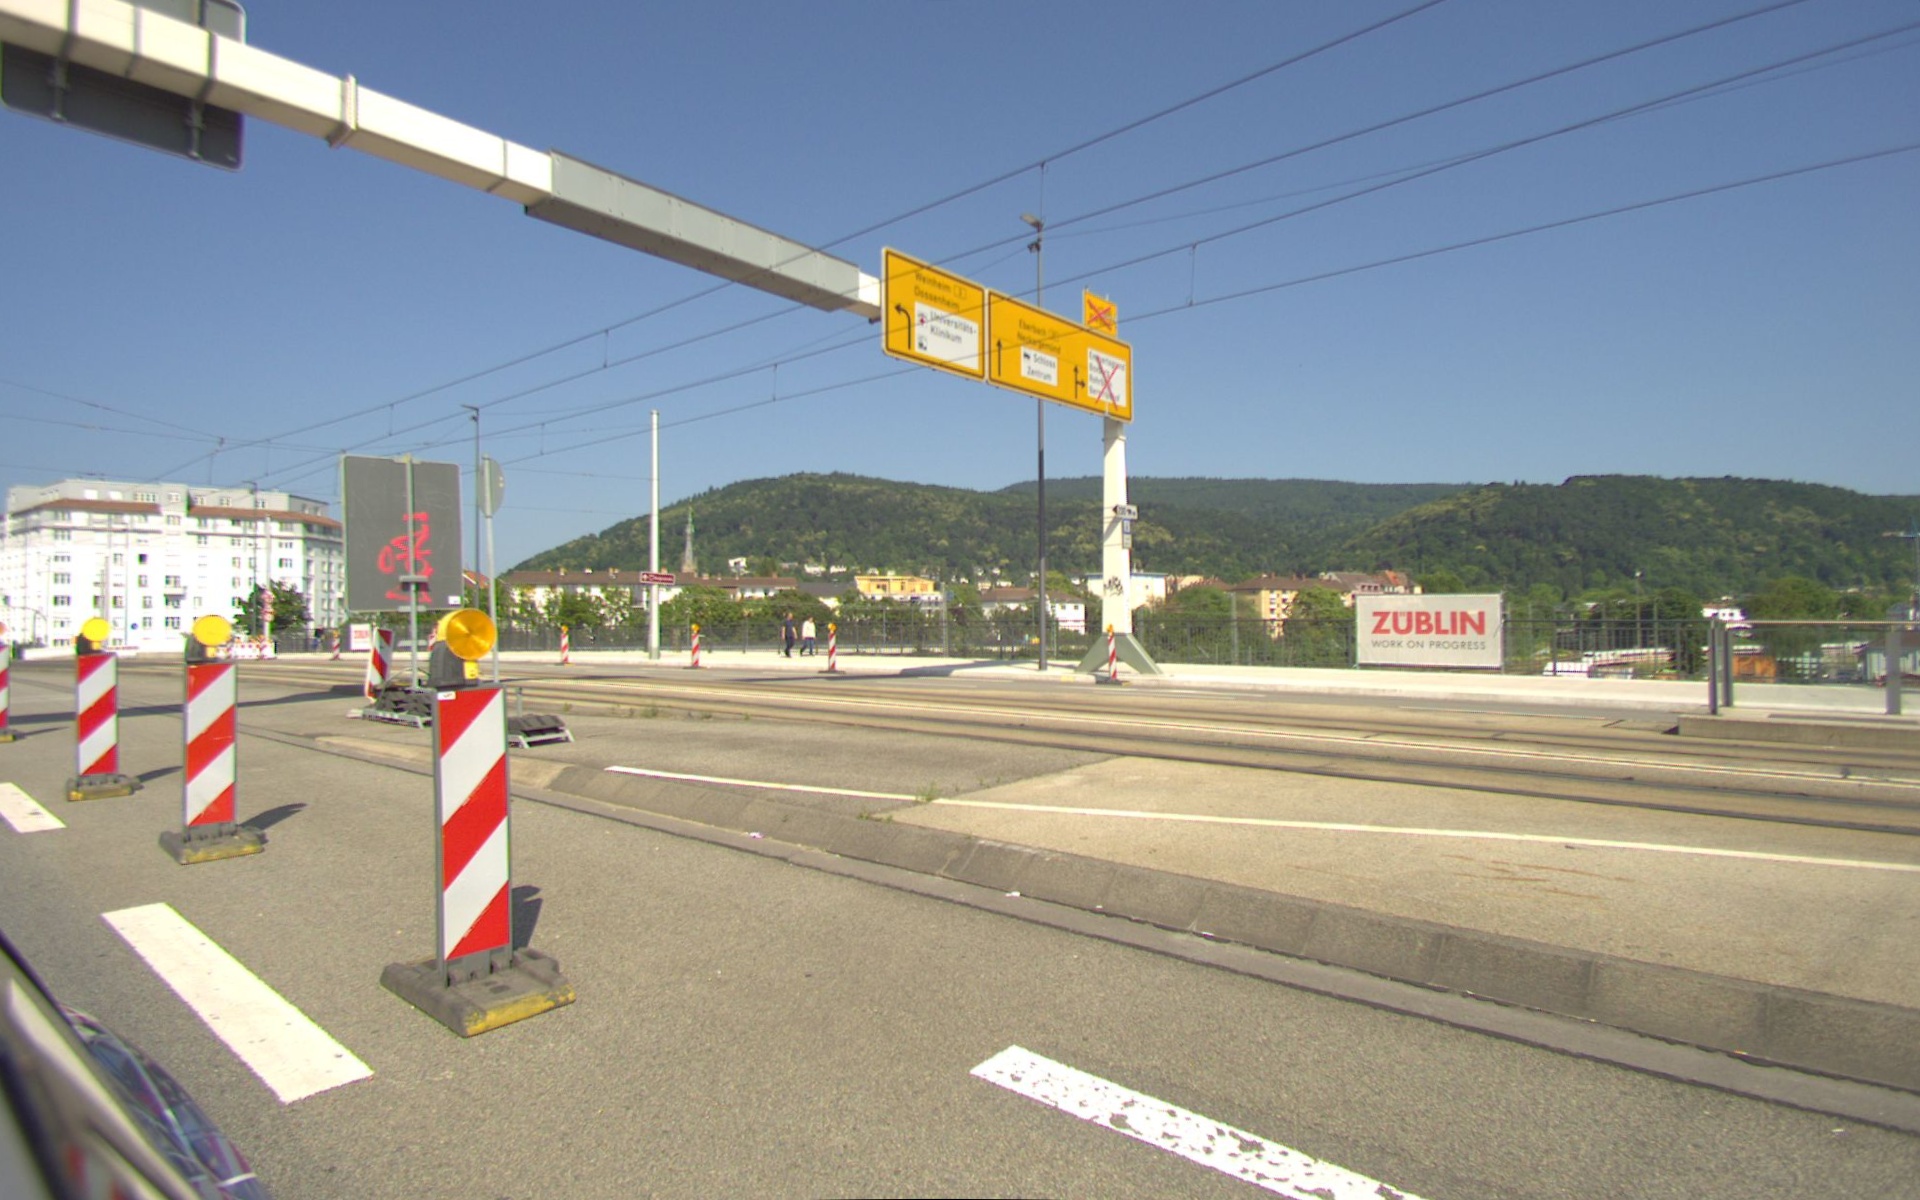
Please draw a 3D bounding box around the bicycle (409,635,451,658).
[{"bbox_3d":[-28.743,2.517,54.856,3.068,1.204,0.848,-2,-1,39],"label":"bicycle"}]

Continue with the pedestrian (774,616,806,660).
[{"bbox_3d":[-6.491,1.447,38.635,0.894,1.654,0.736,-2,0,39],"label":"pedestrian"}]

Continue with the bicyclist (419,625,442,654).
[{"bbox_3d":[-28.653,2.112,54.773,0.816,1.530,0.848,-2,-1,38],"label":"bicyclist"}]

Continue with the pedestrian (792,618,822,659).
[{"bbox_3d":[-5.941,1.494,39.327,0.888,1.556,0.712,-2,0,39],"label":"pedestrian"}]
